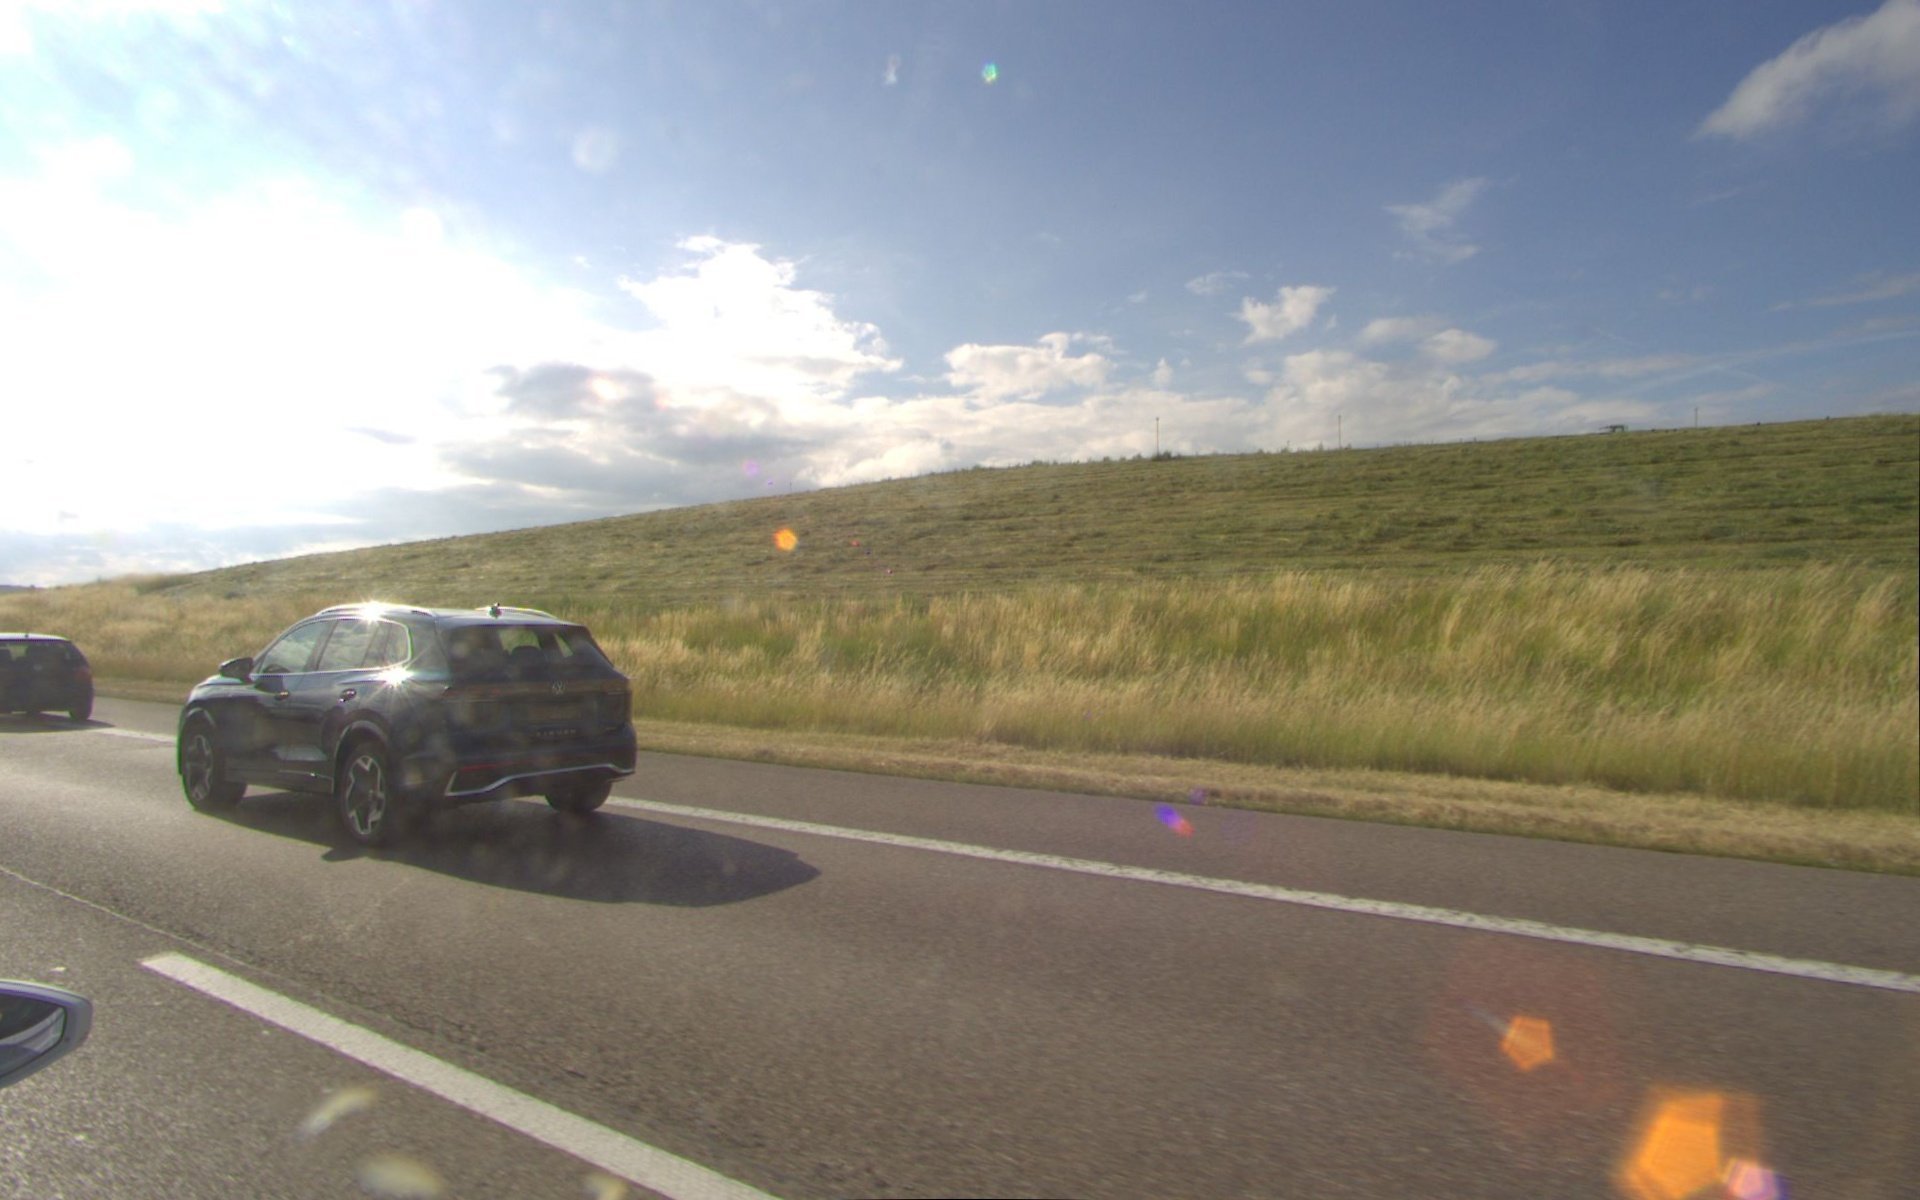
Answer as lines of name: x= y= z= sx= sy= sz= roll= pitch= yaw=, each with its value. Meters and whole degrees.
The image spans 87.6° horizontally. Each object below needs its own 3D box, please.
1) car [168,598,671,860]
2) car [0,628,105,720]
car: x=-4.481 y=0.884 z=8.136 sx=4.176 sy=1.621 sz=1.818 roll=-1 pitch=-3 yaw=33
car: x=-16.183 y=1.201 z=17.032 sx=3.622 sy=1.438 sz=1.602 roll=-1 pitch=-1 yaw=34
